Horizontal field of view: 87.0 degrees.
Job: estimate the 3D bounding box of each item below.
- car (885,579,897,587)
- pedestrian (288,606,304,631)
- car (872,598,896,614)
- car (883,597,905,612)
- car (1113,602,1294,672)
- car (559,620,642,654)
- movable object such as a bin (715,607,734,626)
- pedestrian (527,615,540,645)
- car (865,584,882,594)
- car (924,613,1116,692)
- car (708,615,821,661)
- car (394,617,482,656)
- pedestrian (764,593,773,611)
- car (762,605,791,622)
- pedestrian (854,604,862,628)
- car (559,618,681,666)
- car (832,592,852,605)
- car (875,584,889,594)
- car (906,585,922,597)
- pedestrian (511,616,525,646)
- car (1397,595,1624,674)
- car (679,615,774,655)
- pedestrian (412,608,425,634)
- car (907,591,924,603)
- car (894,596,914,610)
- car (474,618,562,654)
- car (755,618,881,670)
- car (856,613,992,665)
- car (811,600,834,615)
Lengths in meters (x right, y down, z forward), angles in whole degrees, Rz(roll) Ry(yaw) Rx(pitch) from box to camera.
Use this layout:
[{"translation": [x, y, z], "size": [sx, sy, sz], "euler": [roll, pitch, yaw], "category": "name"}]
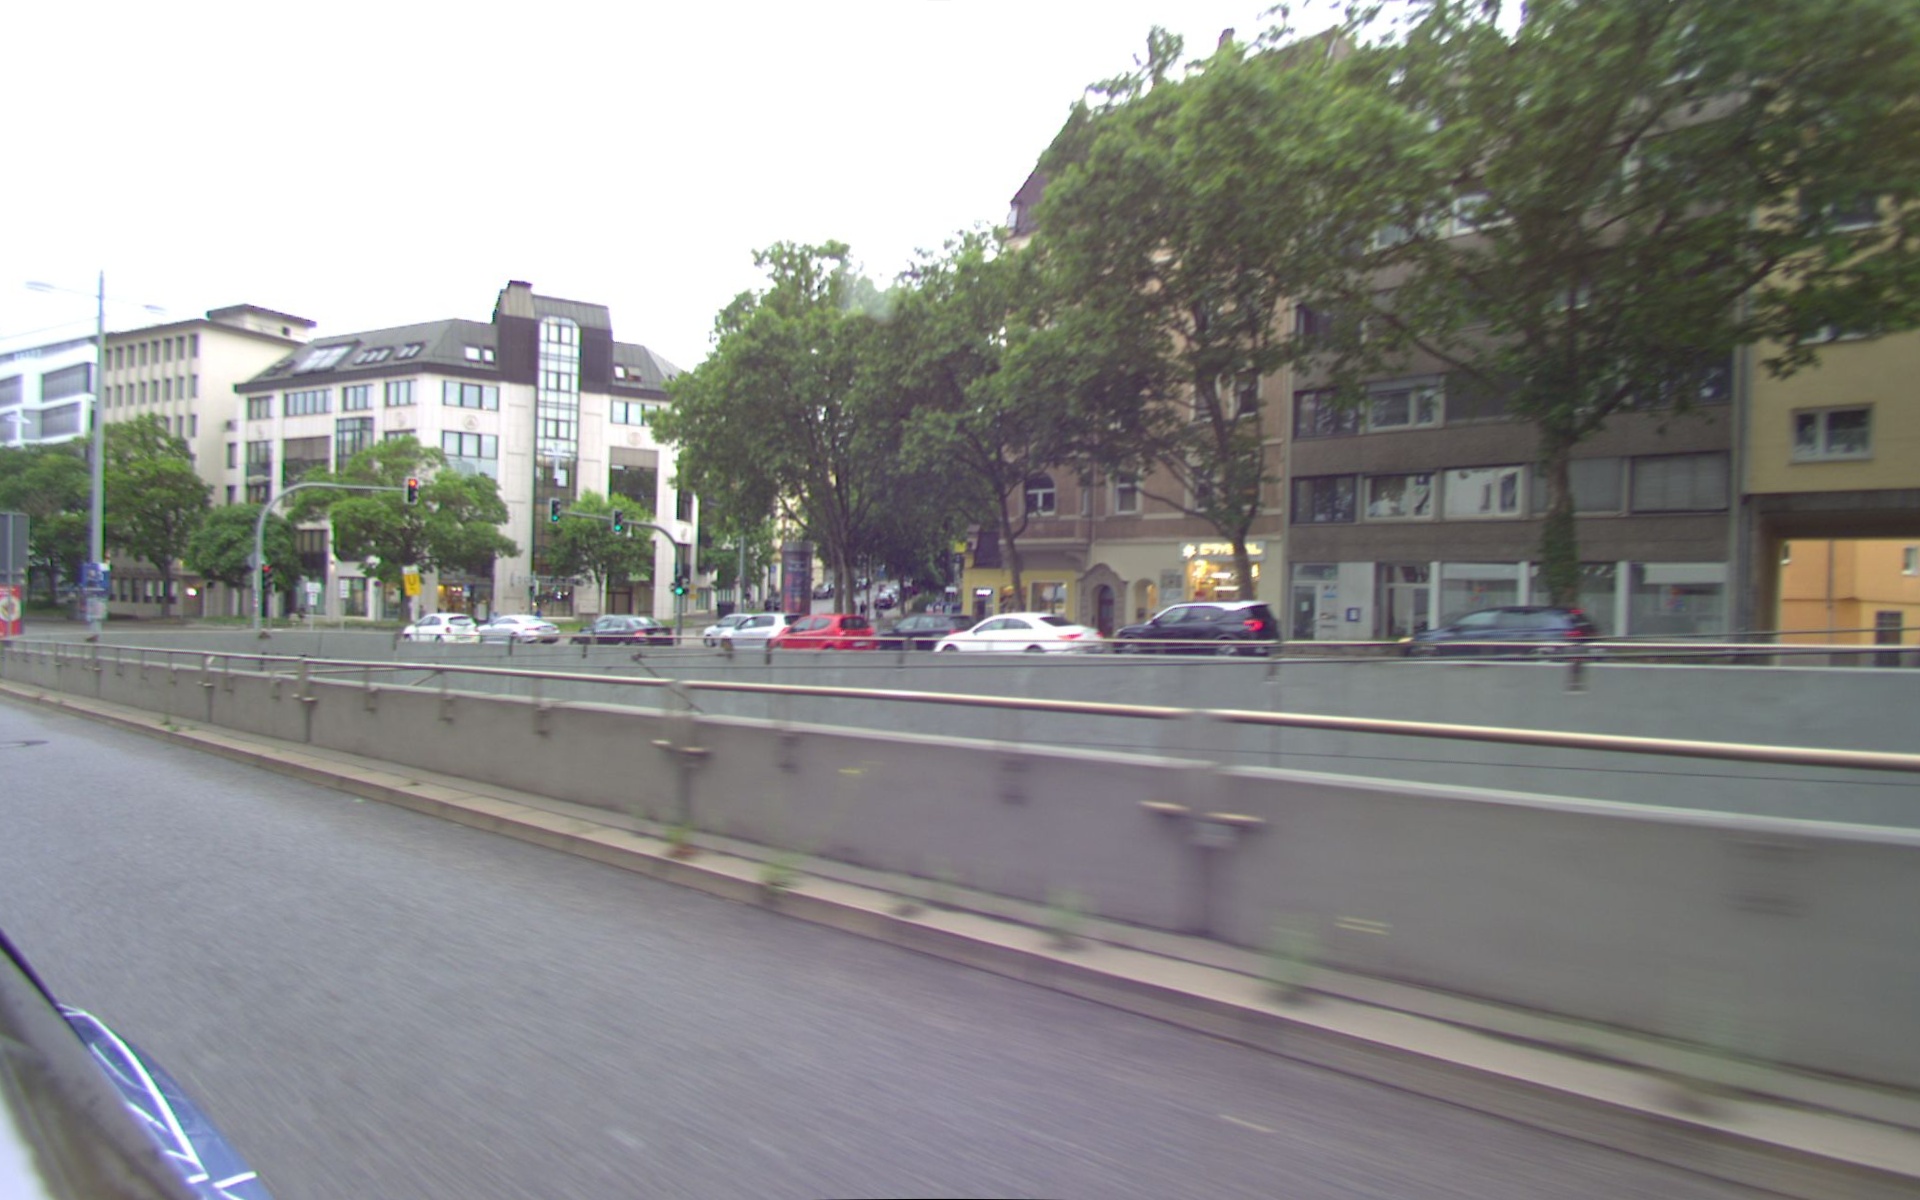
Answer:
[{"translation": [-12.549, -3.097, 184.435], "size": [1.777, 1.521, 3.995], "euler": [-1, 1, 4], "category": "car"}, {"translation": [-48.513, 1.360, 73.931], "size": [0.614, 1.798, 0.826], "euler": [0, 0, 32], "category": "pedestrian"}, {"translation": [-7.312, 0.535, 97.768], "size": [1.592, 1.473, 3.484], "euler": [-1, 1, 8], "category": "car"}, {"translation": [-6.700, 0.413, 103.533], "size": [1.592, 1.473, 3.484], "euler": [-1, 1, 8], "category": "car"}, {"translation": [6.027, 0.906, 25.284], "size": [4.015, 1.592, 1.775], "euler": [-2, -1, 41], "category": "car"}, {"translation": [-17.034, 1.747, 47.873], "size": [3.993, 1.522, 1.778], "euler": [-1, -2, 37], "category": "car"}, {"translation": [-18.948, 1.297, 81.511], "size": [1.332, 1.519, 1.073], "euler": [-1, 0, -21], "category": "movable object such as a bin"}, {"translation": [-26.977, 1.893, 64.008], "size": [0.582, 1.822, 0.675], "euler": [-1, 0, -44], "category": "pedestrian"}, {"translation": [-12.525, -1.592, 146.464], "size": [1.777, 1.521, 3.995], "euler": [-1, 1, 4], "category": "car"}, {"translation": [1.415, 1.224, 25.264], "size": [4.730, 1.783, 1.775], "euler": [-1, -1, 42], "category": "car"}, {"translation": [-6.997, 1.359, 36.124], "size": [3.994, 1.522, 1.777], "euler": [-2, -1, 38], "category": "car"}, {"translation": [-22.716, 1.557, 44.014], "size": [3.990, 1.573, 1.779], "euler": [-1, -1, 35], "category": "car"}, {"translation": [-18.711, 0.199, 98.766], "size": [0.643, 1.674, 0.647], "euler": [-1, 0, 13], "category": "pedestrian"}, {"translation": [-17.173, 1.250, 95.020], "size": [1.777, 1.521, 3.995], "euler": [-1, 1, 4], "category": "car"}, {"translation": [-7.938, 1.244, 78.707], "size": [0.623, 1.822, 0.675], "euler": [-1, 0, -8], "category": "pedestrian"}, {"translation": [-12.168, 1.443, 36.085], "size": [4.828, 1.569, 1.777], "euler": [-1, -1, 38], "category": "car"}, {"translation": [-14.321, -0.229, 123.051], "size": [1.777, 1.521, 3.995], "euler": [-1, 1, 4], "category": "car"}, {"translation": [-12.510, -1.746, 162.277], "size": [1.777, 1.521, 3.995], "euler": [-1, 1, 4], "category": "car"}, {"translation": [-5.891, -1.187, 128.992], "size": [1.590, 1.473, 3.487], "euler": [-1, 0, 5], "category": "car"}, {"translation": [-27.720, 1.920, 63.477], "size": [0.582, 1.822, 0.675], "euler": [-1, 0, -44], "category": "pedestrian"}, {"translation": [12.136, 0.741, 22.531], "size": [1.674, 1.562, 4.070], "euler": [-1, -1, -39], "category": "car"}, {"translation": [-9.749, 1.411, 42.206], "size": [3.937, 1.521, 1.777], "euler": [-1, 1, 38], "category": "car"}, {"translation": [-36.893, 1.417, 68.976], "size": [0.524, 1.798, 0.598], "euler": [0, 0, 32], "category": "pedestrian"}, {"translation": [-5.402, -0.374, 121.945], "size": [1.590, 1.473, 3.487], "euler": [-1, 0, 5], "category": "car"}, {"translation": [-6.142, 0.332, 110.952], "size": [1.592, 1.473, 3.484], "euler": [-1, 1, 8], "category": "car"}, {"translation": [-20.020, 1.583, 45.777], "size": [3.989, 1.522, 1.780], "euler": [-1, -1, 34], "category": "car"}, {"translation": [-4.289, 1.270, 30.213], "size": [3.878, 1.411, 1.568], "euler": [-1, -1, 40], "category": "car"}, {"translation": [-1.160, 1.204, 31.433], "size": [3.994, 1.522, 1.777], "euler": [-2, -1, 38], "category": "car"}, {"translation": [-15.199, 0.823, 112.093], "size": [1.777, 1.521, 3.995], "euler": [-1, 1, 4], "category": "car"}]
